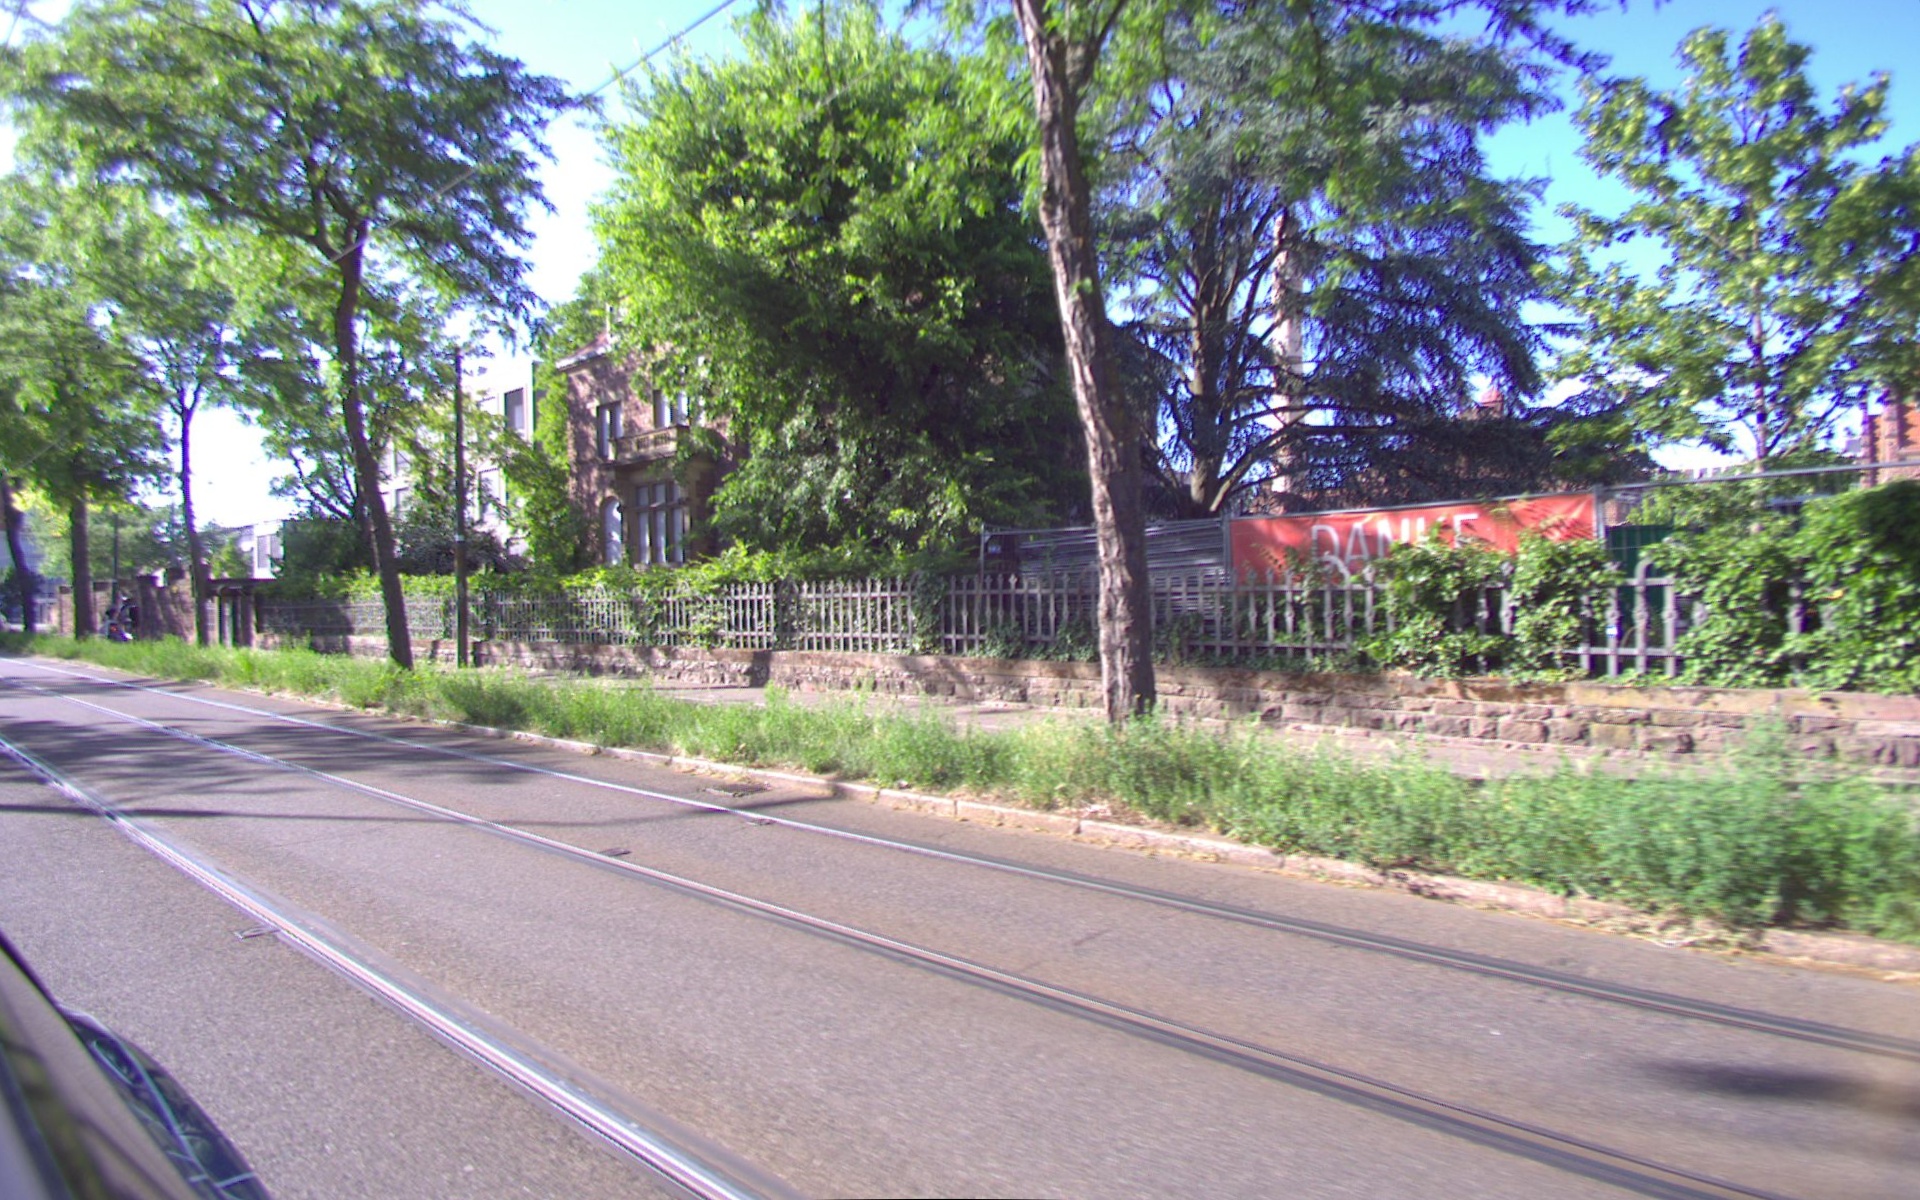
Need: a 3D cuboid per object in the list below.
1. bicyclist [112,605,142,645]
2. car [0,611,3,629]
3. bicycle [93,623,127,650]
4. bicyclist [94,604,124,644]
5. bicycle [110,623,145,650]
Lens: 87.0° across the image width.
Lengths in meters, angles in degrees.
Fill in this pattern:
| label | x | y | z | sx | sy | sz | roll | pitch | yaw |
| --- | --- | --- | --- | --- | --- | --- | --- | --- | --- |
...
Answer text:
| label | x | y | z | sx | sy | sz | roll | pitch | yaw |
| --- | --- | --- | --- | --- | --- | --- | --- | --- | --- |
| bicyclist | -31.092 | 0.920 | 37.775 | 1.041 | 1.481 | 0.701 | -1 | 0 | 42 |
| car | -107.113 | 2.242 | 111.565 | 4.932 | 1.980 | 1.972 | -1 | 0 | 42 |
| bicycle | -33.508 | 1.436 | 39.882 | 1.888 | 0.981 | 0.710 | 0 | 2 | 41 |
| bicyclist | -33.532 | 0.938 | 39.866 | 0.956 | 1.510 | 0.702 | 0 | 2 | 41 |
| bicycle | -31.049 | 1.356 | 37.748 | 2.094 | 0.967 | 0.703 | -1 | 0 | 42 |
